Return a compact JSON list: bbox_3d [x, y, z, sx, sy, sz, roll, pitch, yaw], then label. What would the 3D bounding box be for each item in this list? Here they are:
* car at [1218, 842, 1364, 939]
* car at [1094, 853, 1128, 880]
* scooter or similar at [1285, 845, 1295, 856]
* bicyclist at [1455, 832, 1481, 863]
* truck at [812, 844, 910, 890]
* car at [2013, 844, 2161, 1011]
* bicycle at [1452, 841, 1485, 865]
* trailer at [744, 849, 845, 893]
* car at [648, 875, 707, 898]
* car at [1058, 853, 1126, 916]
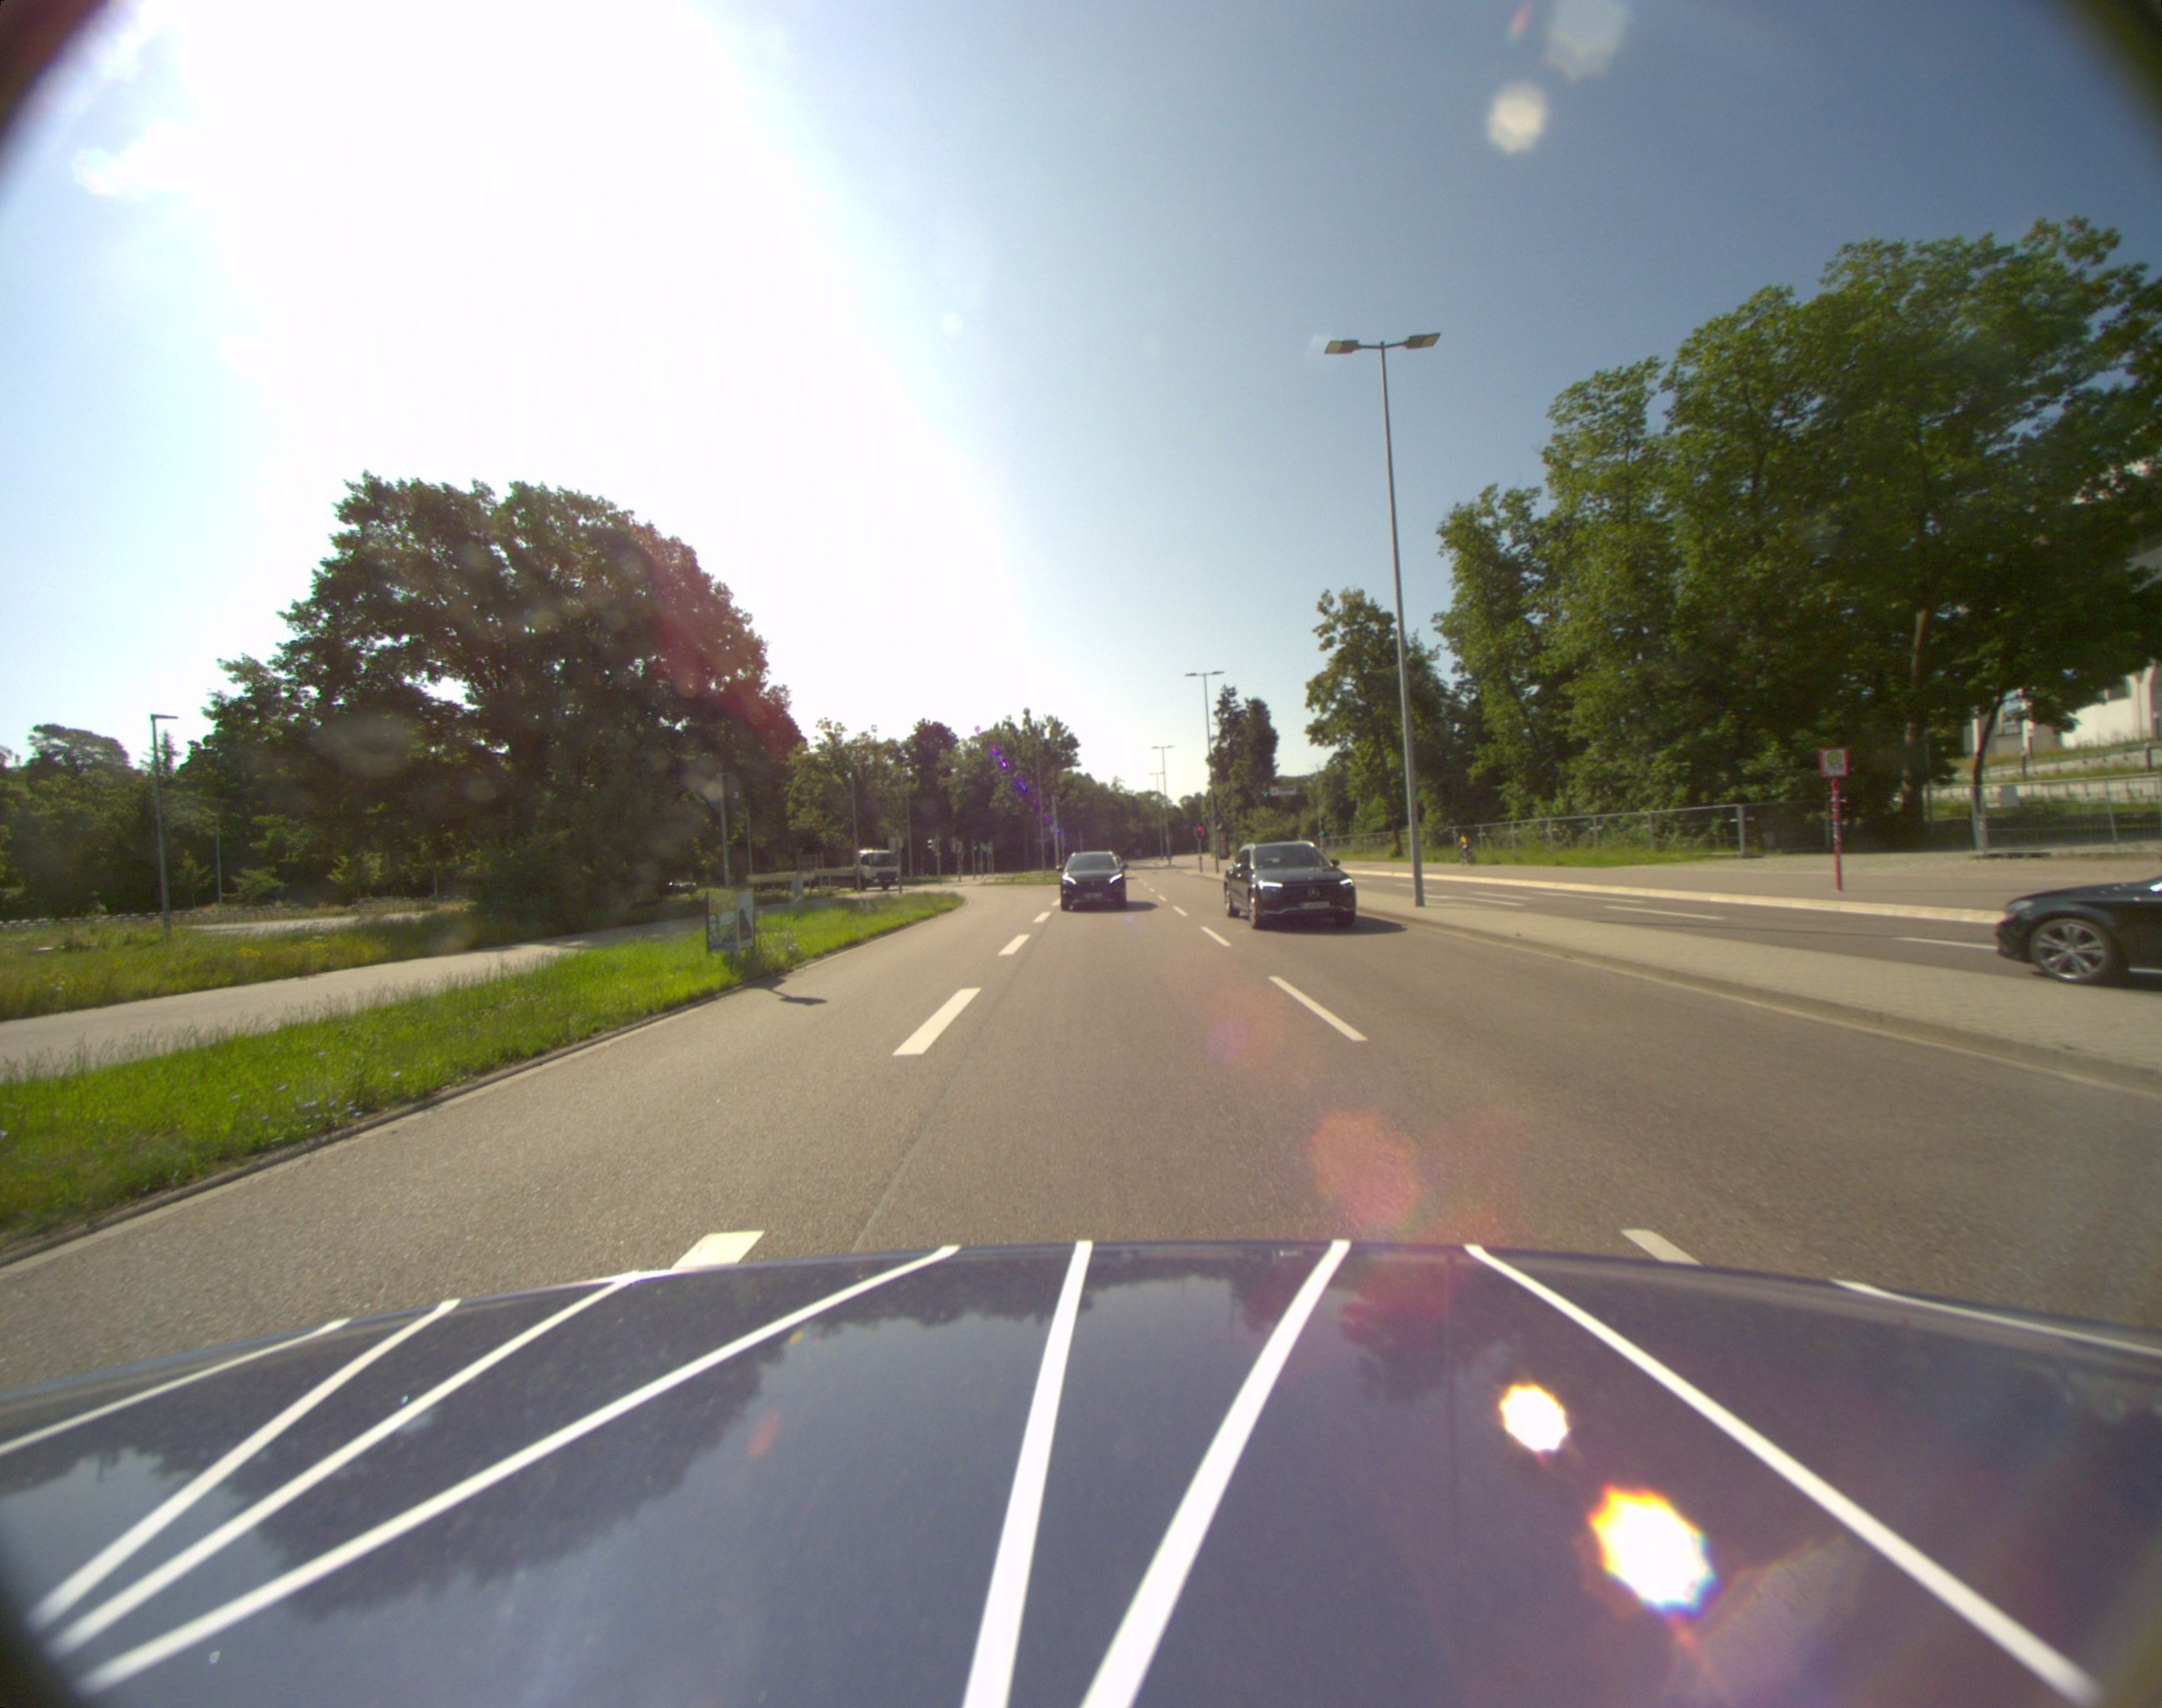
[{"bbox_3d":[4.007,0.620,15.233,1.809,1.587,4.273,-2,0,2],"label":"car"},{"bbox_3d":[1.846,0.747,47.120,1.932,1.499,4.000,-3,0,2],"label":"car"},{"bbox_3d":[25.773,-0.412,93.873,1.082,1.215,0.395,-3,0,-21],"label":"scooter or similar"},{"bbox_3d":[19.324,-0.319,37.962,0.661,1.459,1.057,-5,0,1],"label":"bicyclist"},{"bbox_3d":[-14.818,0.874,51.066,6.187,2.702,2.685,-3,1,32],"label":"truck"},{"bbox_3d":[9.940,0.613,5.298,1.815,1.380,4.161,-1,0,1],"label":"car"},{"bbox_3d":[19.344,-0.048,37.973,0.661,1.129,1.878,-5,0,1],"label":"bicycle"},{"bbox_3d":[-20.486,1.215,54.205,6.872,2.672,2.708,-3,1,27],"label":"trailer"},{"bbox_3d":[-31.066,2.500,58.518,3.991,1.475,1.849,-3,0,23],"label":"car"},{"bbox_3d":[0.415,0.821,22.323,1.702,1.581,4.320,-3,0,4],"label":"car"}]
